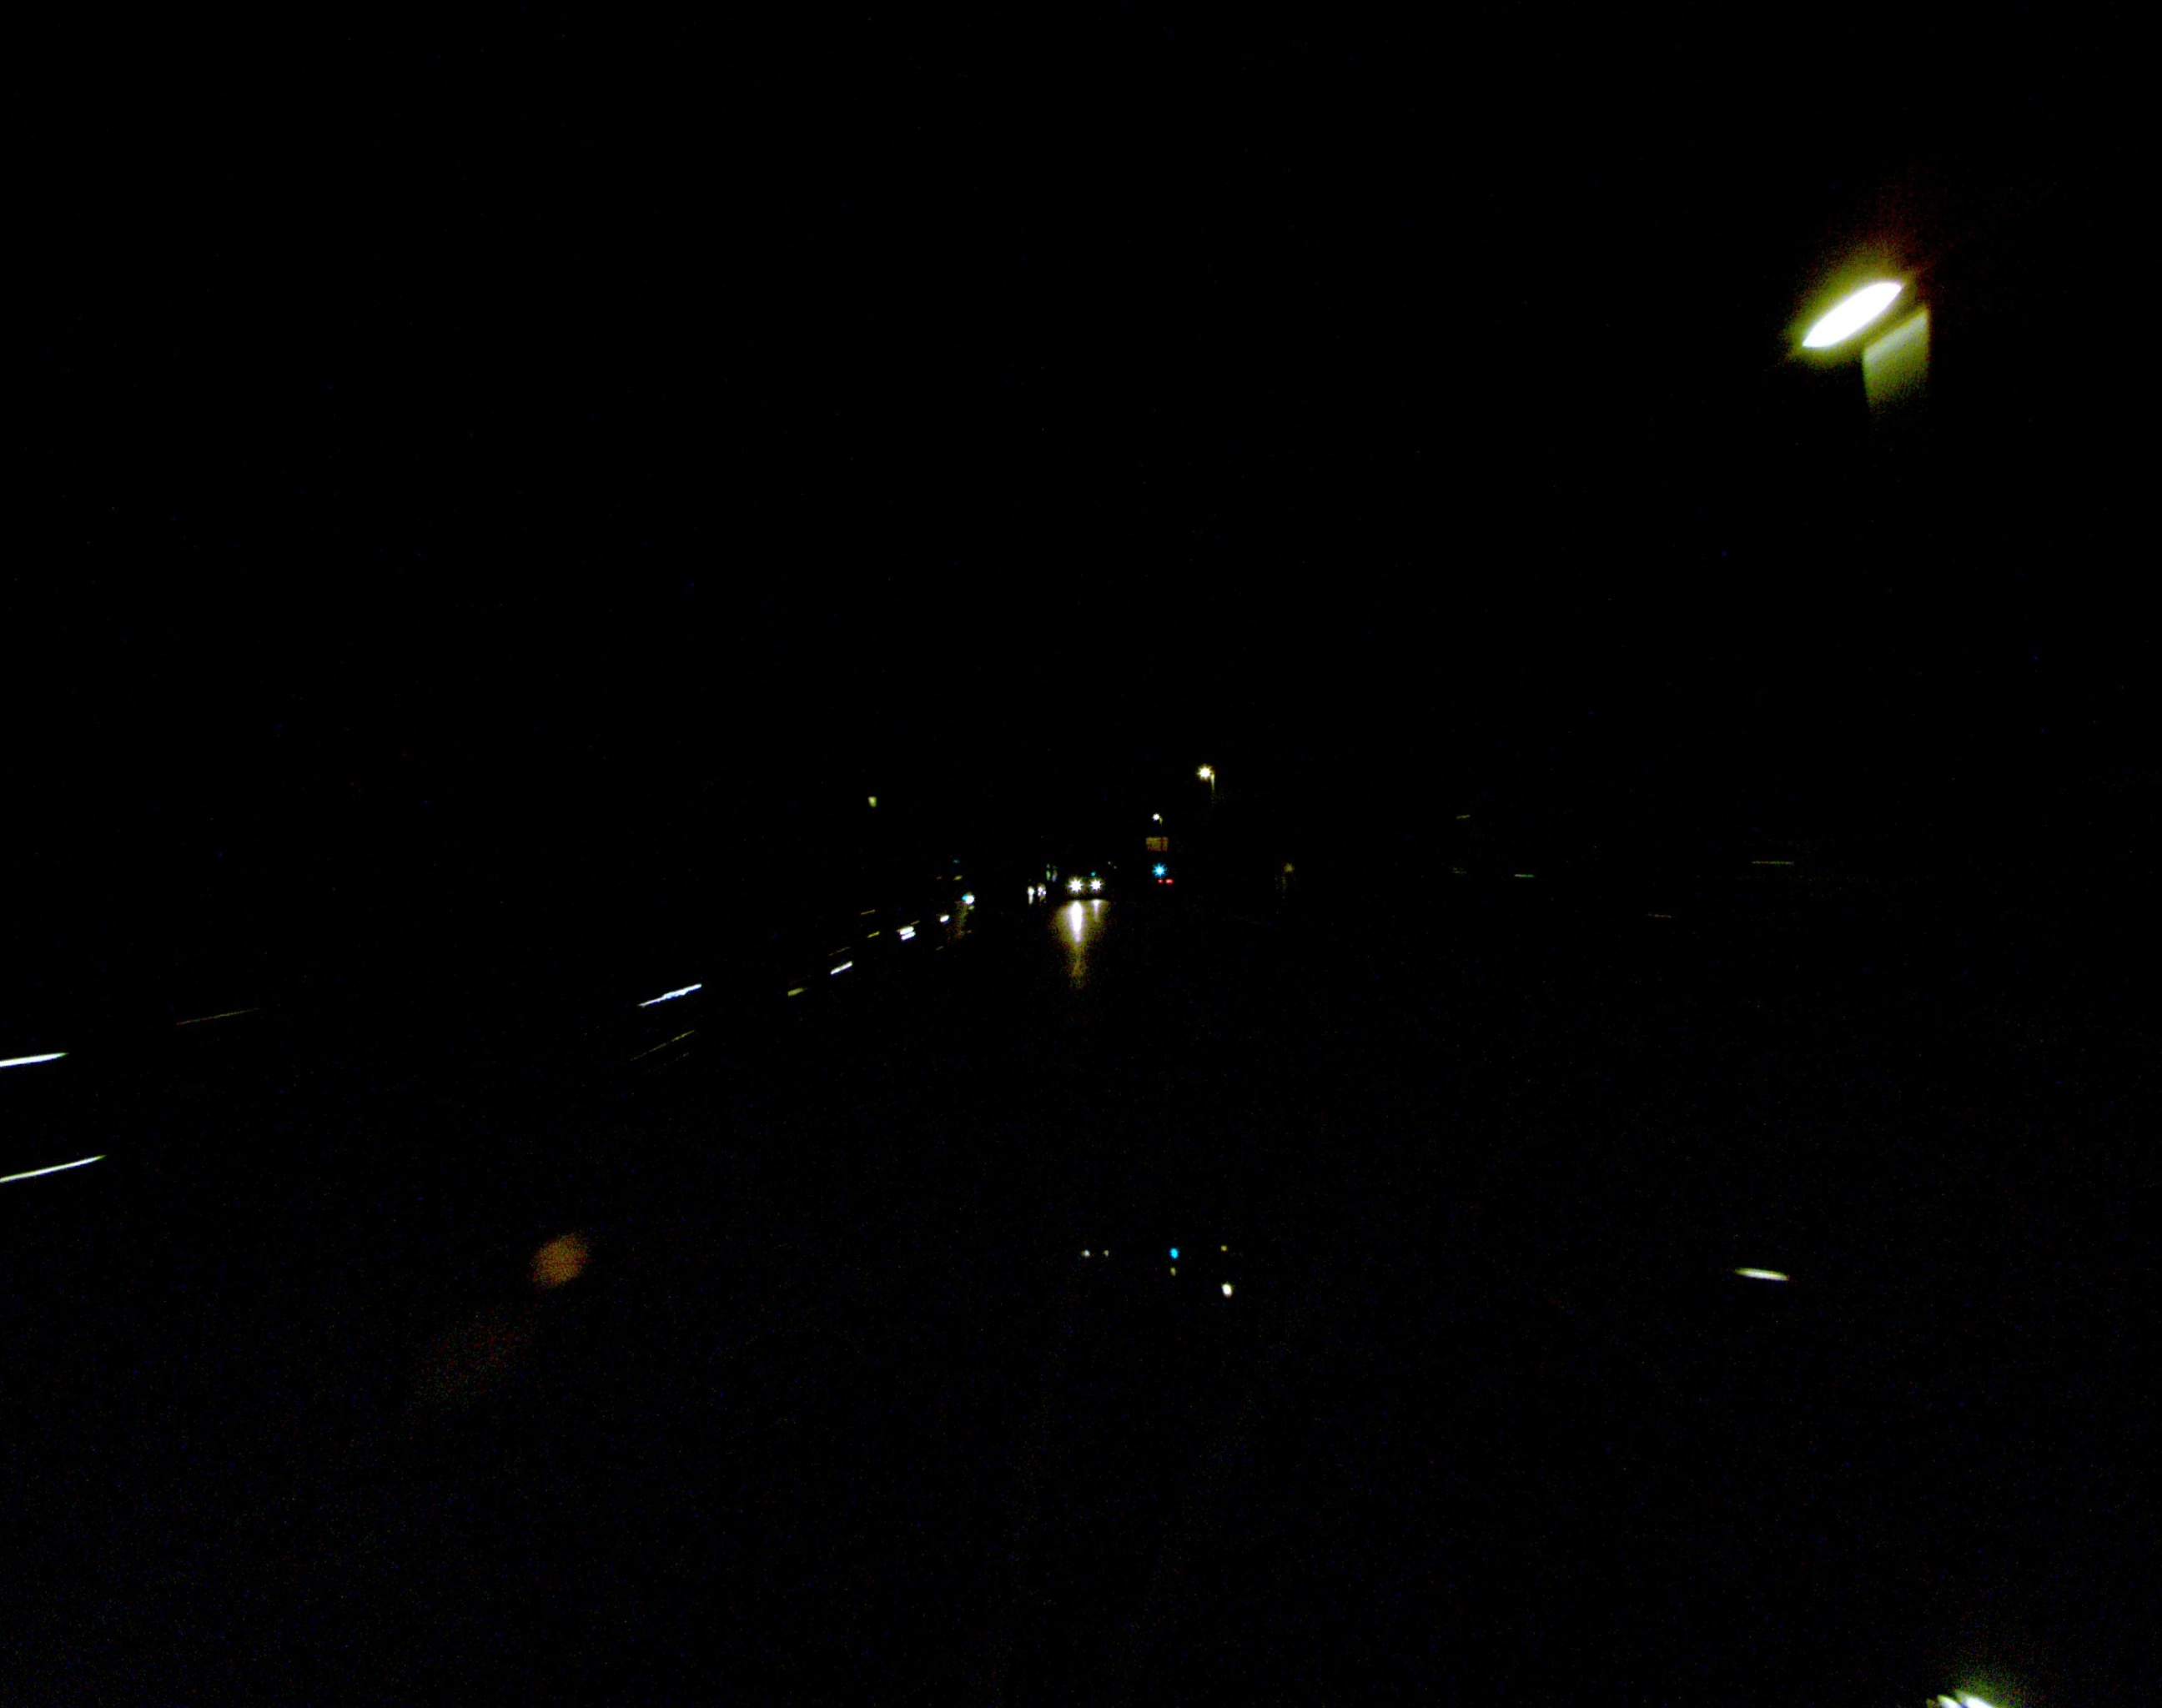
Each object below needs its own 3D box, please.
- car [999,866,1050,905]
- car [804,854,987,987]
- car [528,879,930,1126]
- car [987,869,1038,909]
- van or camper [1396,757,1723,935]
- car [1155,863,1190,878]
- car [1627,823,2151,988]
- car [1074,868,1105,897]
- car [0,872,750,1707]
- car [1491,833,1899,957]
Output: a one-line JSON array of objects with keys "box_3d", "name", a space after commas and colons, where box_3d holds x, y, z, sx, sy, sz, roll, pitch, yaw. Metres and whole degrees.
[{"box_3d": [-2.479, 1.391, 34.514, 1.759, 1.584, 4.729, -2, -1, 2], "name": "car"}, {"box_3d": [-2.825, 0.933, 12.733, 1.723, 1.750, 4.759, -2, -1, 1], "name": "car"}, {"box_3d": [-2.792, 1.071, 7.239, 1.748, 1.462, 4.257, -3, 0, 0], "name": "car"}, {"box_3d": [-2.639, 1.380, 30.005, 1.613, 1.452, 3.718, 1, -2, 1], "name": "car"}, {"box_3d": [9.433, -0.202, 15.181, 5.416, 3.093, 2.130, -2, 2, -9], "name": "van or camper"}, {"box_3d": [10.037, 1.827, 83.425, 1.727, 1.421, 4.298, -3, 0, 39], "name": "car"}, {"box_3d": [8.820, 0.542, 8.614, 3.820, 1.545, 1.928, -2, -1, 0], "name": "car"}, {"box_3d": [0.432, 1.540, 41.681, 1.513, 1.492, 3.050, -1, -2, -2], "name": "car"}, {"box_3d": [-2.748, 0.959, 1.613, 1.836, 1.654, 4.619, -2, 0, 3], "name": "car"}, {"box_3d": [8.929, 0.557, 11.408, 4.427, 1.604, 2.065, -1, 1, 2], "name": "car"}]
